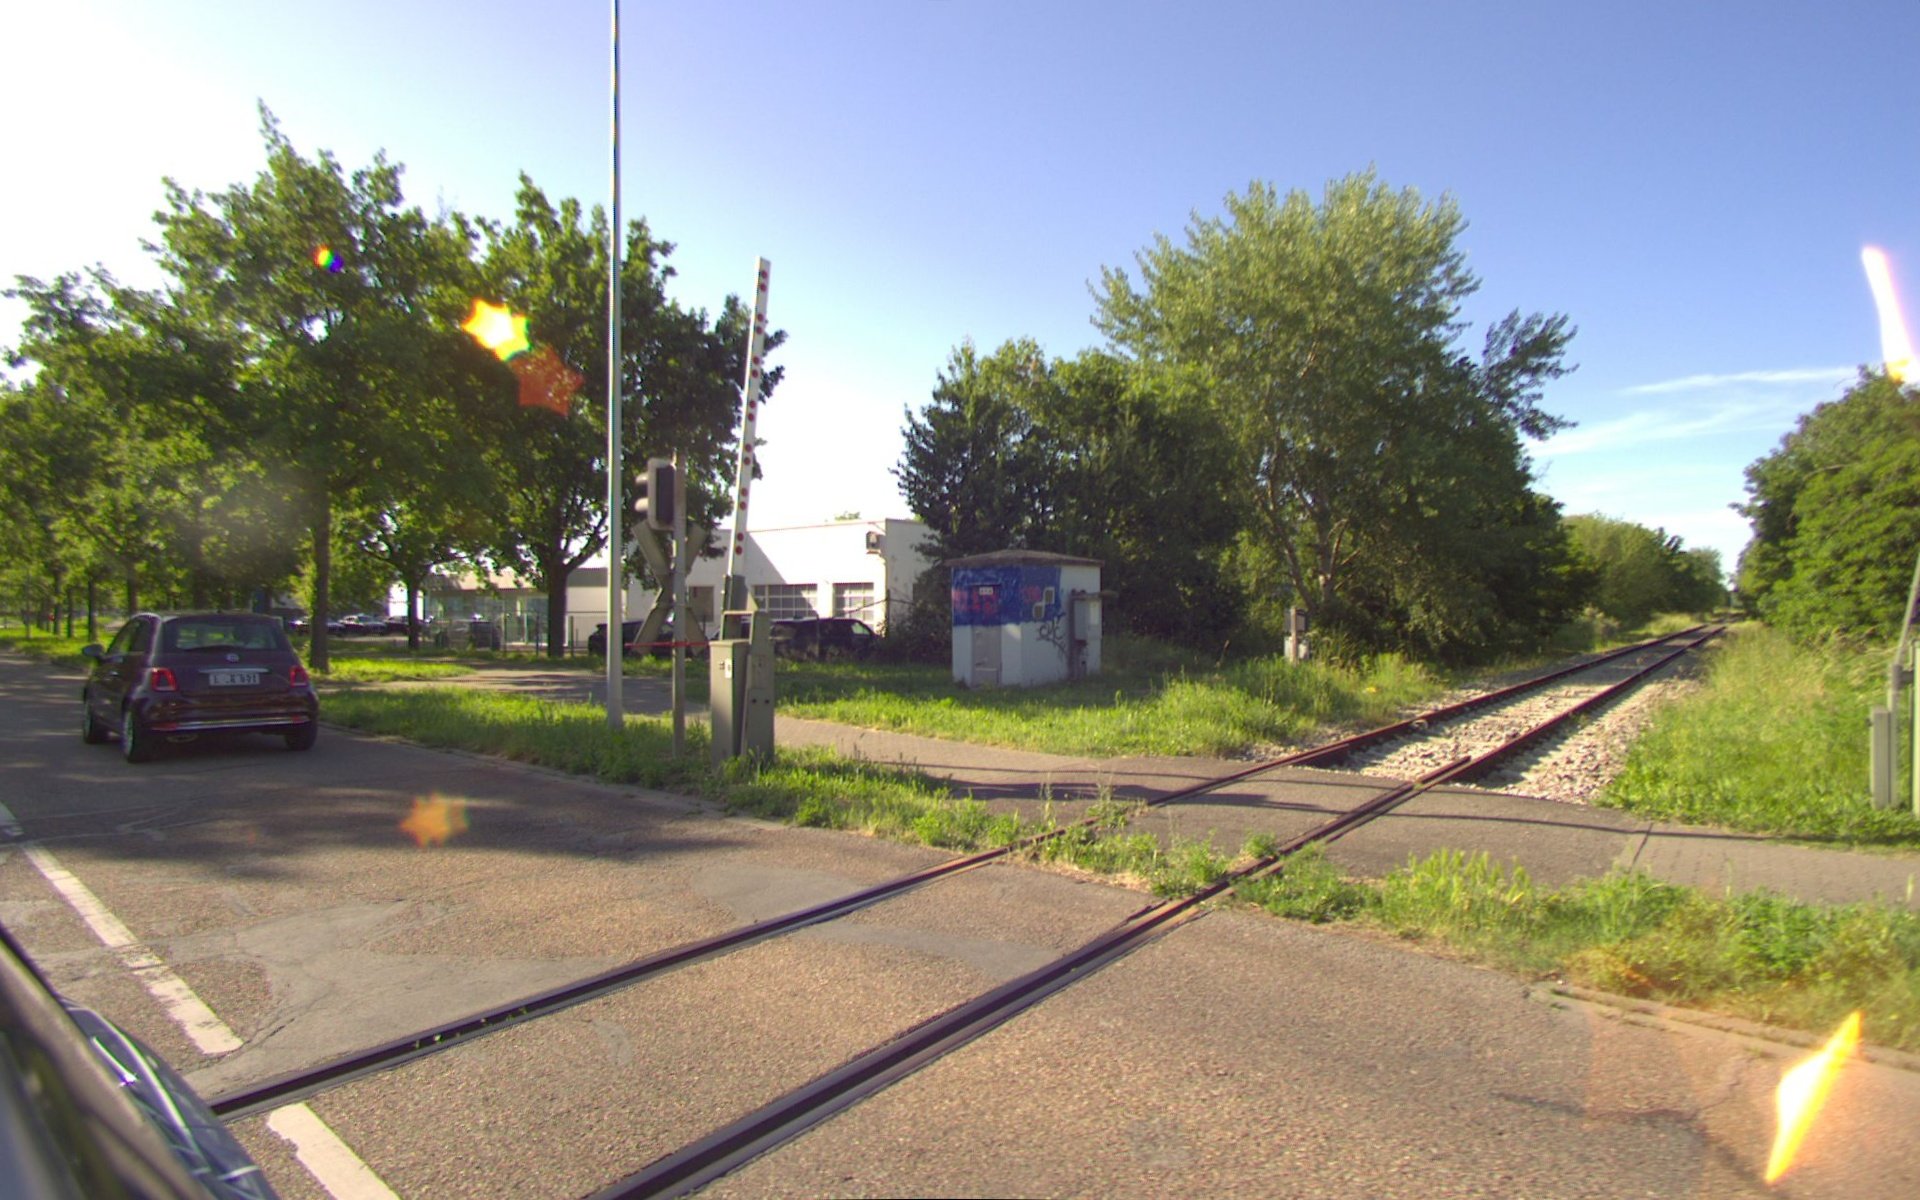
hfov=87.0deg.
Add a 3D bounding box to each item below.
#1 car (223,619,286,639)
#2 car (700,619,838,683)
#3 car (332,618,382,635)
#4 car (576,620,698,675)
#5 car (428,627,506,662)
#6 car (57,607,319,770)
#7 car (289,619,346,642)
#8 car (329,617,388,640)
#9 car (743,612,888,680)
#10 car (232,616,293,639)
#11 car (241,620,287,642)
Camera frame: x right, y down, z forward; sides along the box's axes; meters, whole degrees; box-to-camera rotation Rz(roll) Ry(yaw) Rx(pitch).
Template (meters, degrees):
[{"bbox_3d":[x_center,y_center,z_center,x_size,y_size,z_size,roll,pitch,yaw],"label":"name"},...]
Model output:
[{"bbox_3d":[-61.644,2.506,88.474,4.259,1.530,1.864,-2,1,-43],"label":"car"},{"bbox_3d":[-6.235,1.608,33.310,1.998,1.815,4.149,-1,1,39],"label":"car"},{"bbox_3d":[-59.452,2.578,99.841,3.939,1.530,1.753,-2,1,-43],"label":"car"},{"bbox_3d":[-12.179,1.743,38.339,1.997,1.815,3.950,-1,1,37],"label":"car"},{"bbox_3d":[-25.252,2.230,51.763,5.016,1.609,1.972,-1,1,44],"label":"car"},{"bbox_3d":[-8.708,0.856,11.294,3.998,1.516,1.549,-1,-2,42],"label":"car"},{"bbox_3d":[-51.517,2.444,81.142,4.481,1.688,1.980,-1,1,30],"label":"car"},{"bbox_3d":[-49.572,2.352,83.365,5.240,1.730,1.979,-1,1,31],"label":"car"},{"bbox_3d":[-4.378,1.340,31.122,1.998,1.815,4.149,-1,1,39],"label":"car"},{"bbox_3d":[-58.016,2.250,84.170,3.939,1.755,2.003,-2,1,-42],"label":"car"},{"bbox_3d":[-48.678,2.128,70.799,2.531,1.481,1.430,0,-1,-28],"label":"car"}]
